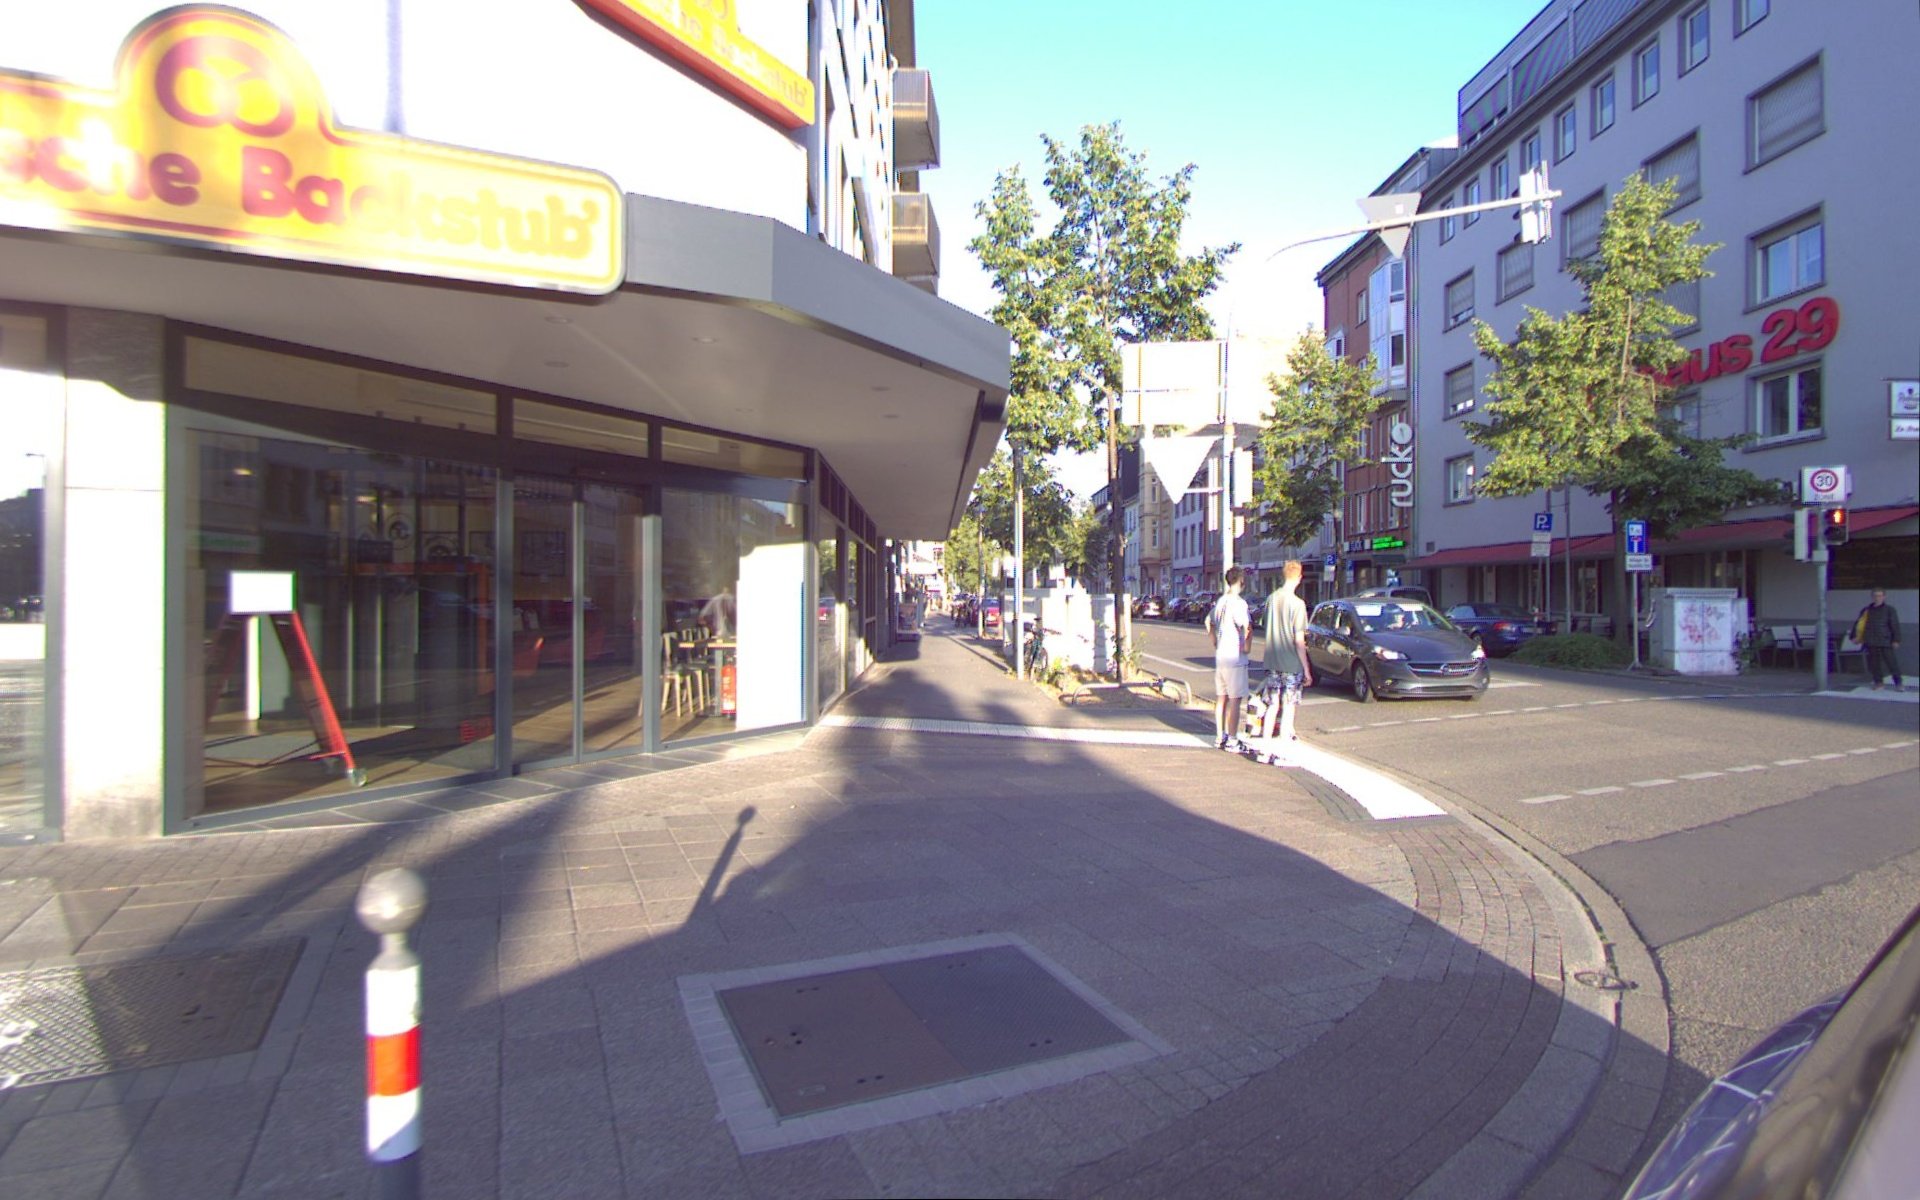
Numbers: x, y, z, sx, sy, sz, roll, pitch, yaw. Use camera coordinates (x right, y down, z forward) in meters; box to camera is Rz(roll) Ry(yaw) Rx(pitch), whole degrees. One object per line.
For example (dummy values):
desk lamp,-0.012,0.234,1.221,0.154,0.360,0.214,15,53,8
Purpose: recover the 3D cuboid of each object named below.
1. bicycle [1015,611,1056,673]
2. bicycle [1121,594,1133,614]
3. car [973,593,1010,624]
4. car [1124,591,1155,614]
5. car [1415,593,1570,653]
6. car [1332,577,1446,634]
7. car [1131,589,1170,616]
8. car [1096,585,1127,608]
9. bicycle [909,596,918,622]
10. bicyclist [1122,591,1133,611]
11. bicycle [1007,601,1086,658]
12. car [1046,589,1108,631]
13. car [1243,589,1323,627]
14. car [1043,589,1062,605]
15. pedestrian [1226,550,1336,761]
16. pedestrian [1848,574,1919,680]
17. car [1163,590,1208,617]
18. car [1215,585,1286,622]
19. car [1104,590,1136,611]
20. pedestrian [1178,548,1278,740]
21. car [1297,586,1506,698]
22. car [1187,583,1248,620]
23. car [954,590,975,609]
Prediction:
bicycle,1.338,0.722,18.087,0.396,1.023,1.672,2,0,-6
bicycle,11.333,0.263,68.581,0.412,1.252,1.696,-2,1,-3
car,1.533,0.413,50.556,1.623,1.446,4.001,-2,0,-1
car,13.157,0.149,74.332,1.655,1.609,3.517,0,1,0
car,13.699,0.532,26.333,1.622,1.370,4.314,0,1,-2
car,13.679,0.127,32.523,1.686,1.684,4.004,-2,1,-4
car,12.984,0.112,69.168,1.841,1.749,4.142,0,1,-1
car,12.359,-0.317,82.714,1.846,1.697,4.039,-2,1,-1
bicycle,-2.131,0.386,46.438,0.325,1.144,2.015,1,1,-5
bicyclist,11.336,0.068,68.622,0.558,1.319,0.661,-2,1,-2
bicycle,1.895,0.639,22.175,1.627,1.209,0.495,0,0,-13
car,4.372,0.333,38.517,1.757,1.386,4.574,-2,1,0
car,13.273,0.289,41.850,1.770,1.410,4.420,0,1,-2
car,10.545,-0.349,115.998,1.754,1.795,3.873,0,0,-1
pedestrian,2.873,0.466,9.091,0.575,1.795,0.750,0,0,-31
pedestrian,15.114,0.427,16.509,0.575,1.677,0.801,0,0,-28
car,13.447,0.179,60.537,1.704,1.544,3.843,0,0,-1
car,13.560,0.149,47.537,1.861,1.619,4.944,1,0,0
car,12.363,0.025,78.224,1.758,1.531,3.780,-1,2,-1
pedestrian,2.616,0.411,9.936,0.626,1.795,0.751,0,0,-21
car,6.465,0.532,15.278,1.558,1.471,3.841,0,1,2
car,13.776,0.077,54.423,1.936,1.908,4.948,0,0,-1
car,0.371,-0.047,87.690,1.733,1.592,3.873,0,0,-1
